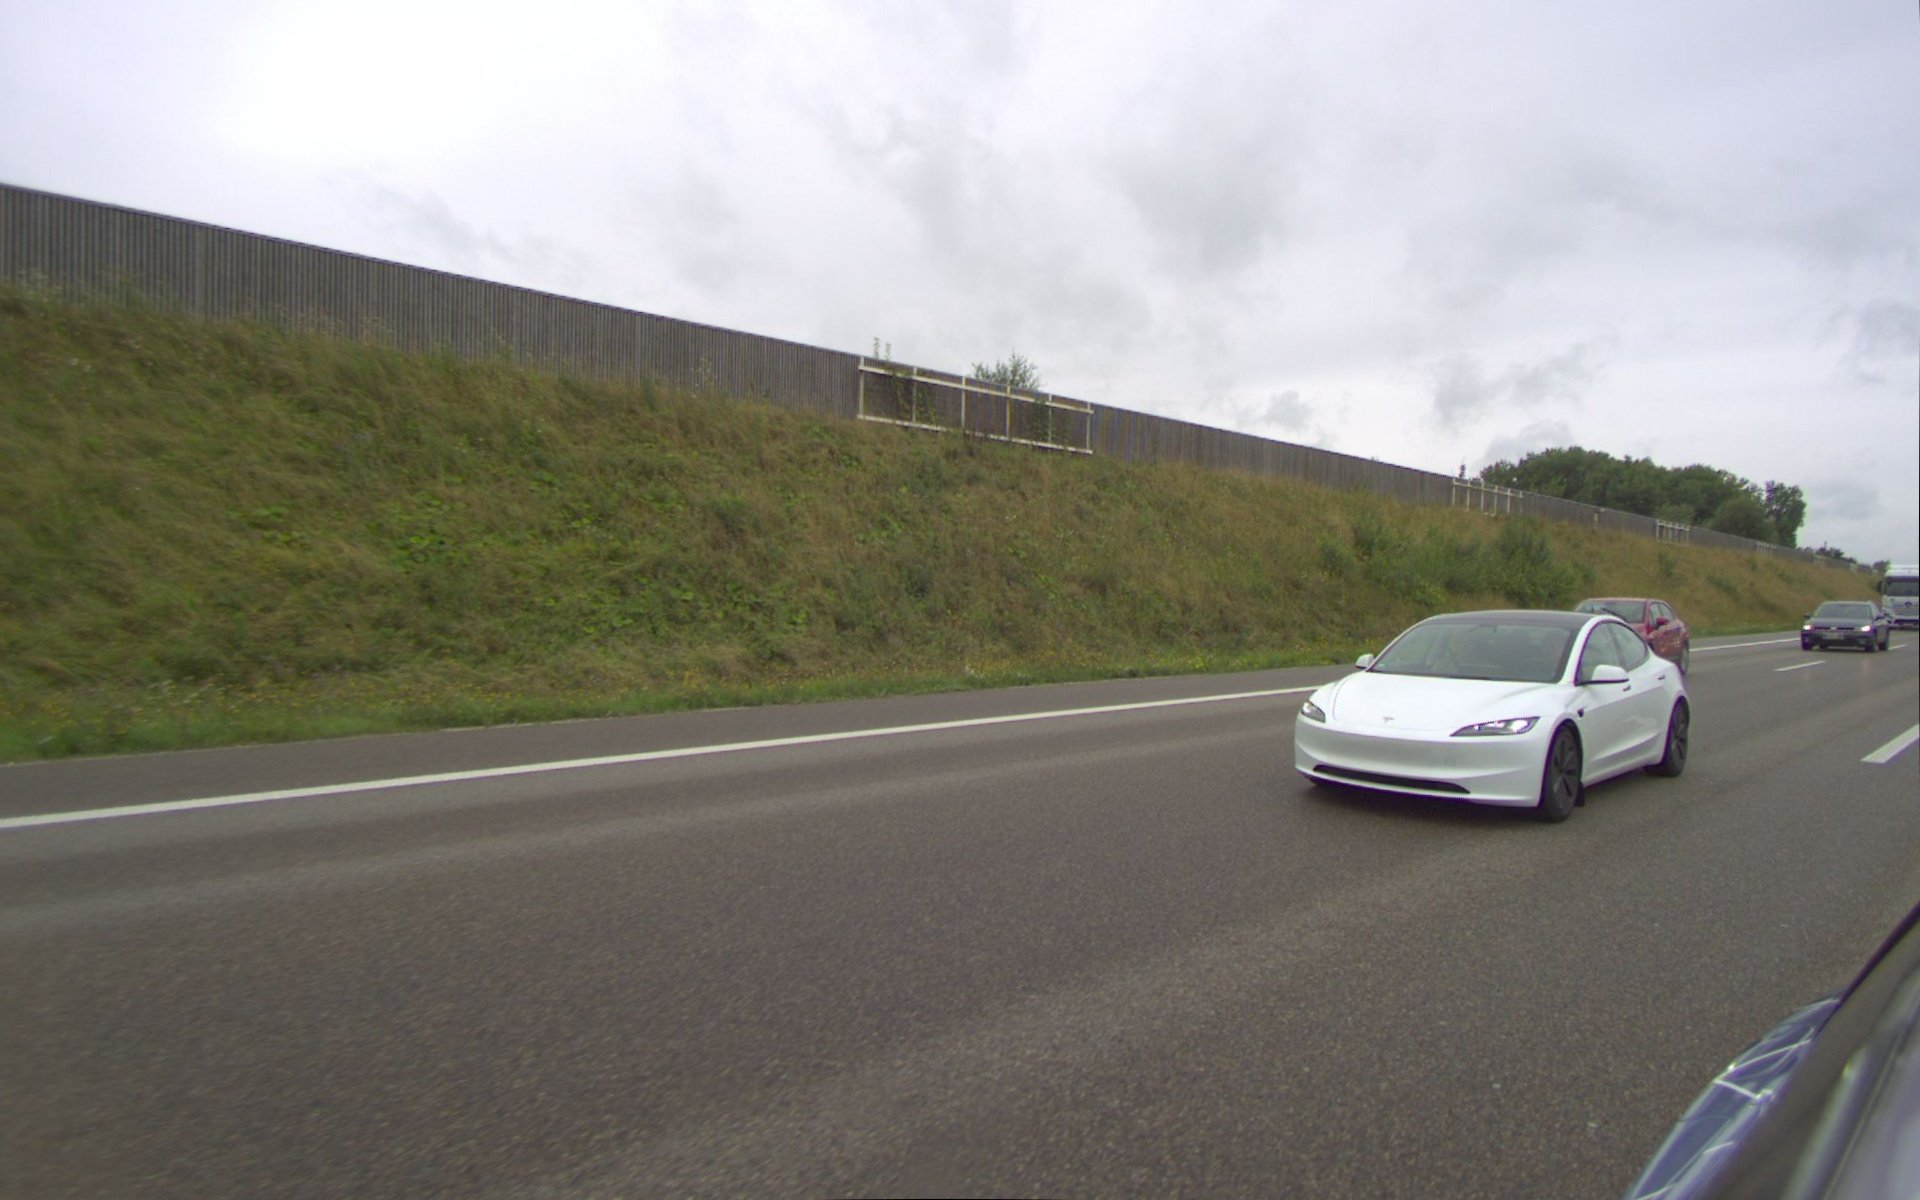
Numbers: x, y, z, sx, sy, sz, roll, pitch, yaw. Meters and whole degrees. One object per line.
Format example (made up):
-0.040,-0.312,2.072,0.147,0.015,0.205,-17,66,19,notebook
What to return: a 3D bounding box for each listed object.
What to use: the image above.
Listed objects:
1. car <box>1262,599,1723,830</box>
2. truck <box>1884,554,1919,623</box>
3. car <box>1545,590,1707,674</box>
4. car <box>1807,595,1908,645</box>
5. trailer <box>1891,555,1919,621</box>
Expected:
4.651,0.698,8.468,4.730,1.380,1.876,0,0,-42,car
59.271,-0.695,62.214,6.839,4.077,3.085,0,0,-43,truck
13.706,0.582,20.750,3.932,1.555,1.876,0,0,-43,car
29.770,0.610,33.529,4.407,1.508,1.928,0,0,-40,car
64.905,-0.772,67.339,14.964,4.077,3.085,0,0,-43,trailer
